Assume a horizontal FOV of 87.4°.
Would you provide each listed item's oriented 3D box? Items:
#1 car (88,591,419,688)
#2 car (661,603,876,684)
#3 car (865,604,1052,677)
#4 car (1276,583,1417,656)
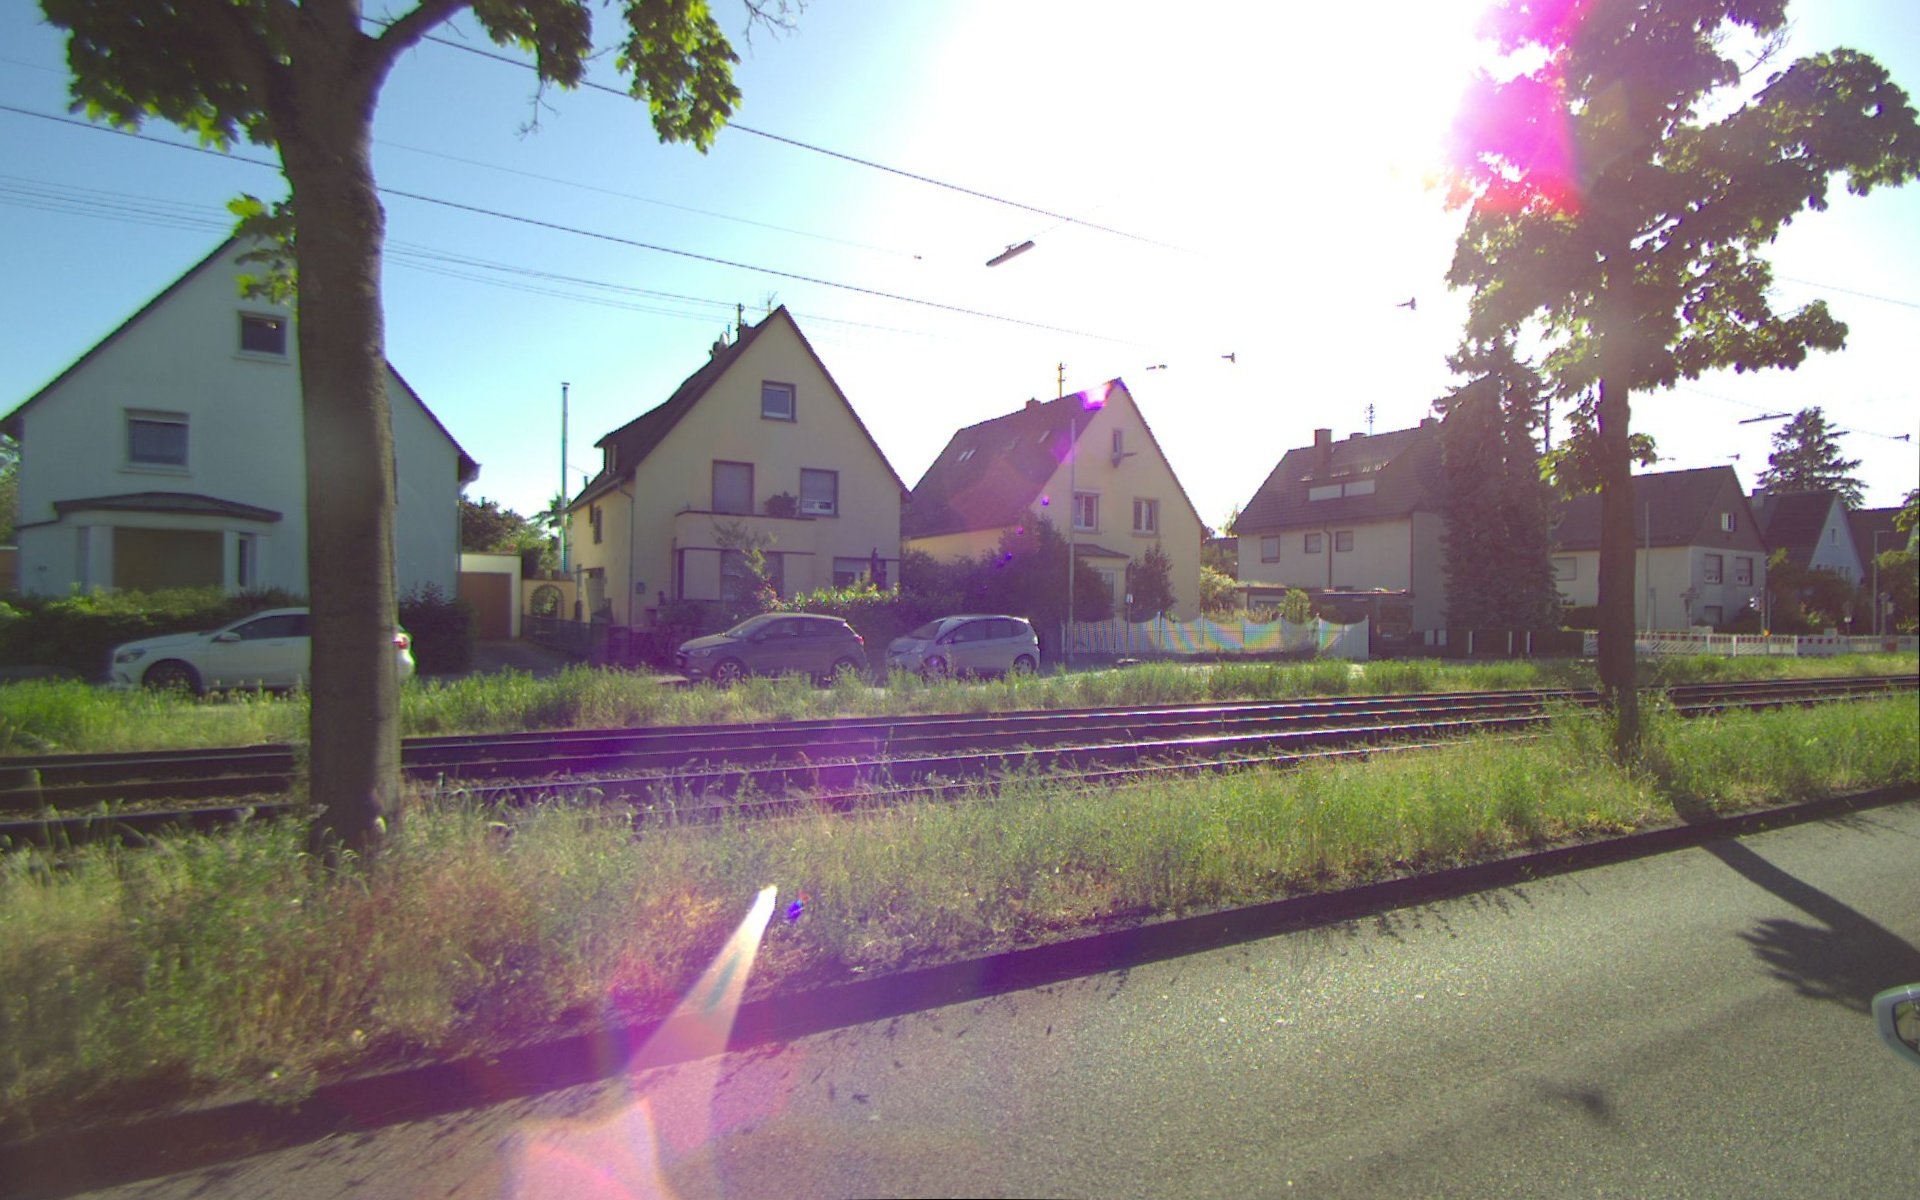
[{"bbox_3d":[-11.722,0.653,17.124,4.356,1.445,1.985,2,0,-29],"label":"car"},{"bbox_3d":[-4.083,0.911,21.519,4.080,1.469,1.983,2,2,-31],"label":"car"},{"bbox_3d":[-0.016,0.951,23.922,4.009,1.574,1.937,2,0,-31],"label":"car"},{"bbox_3d":[15.075,0.720,39.522,2.077,2.660,5.005,1,0,-30],"label":"car"}]
